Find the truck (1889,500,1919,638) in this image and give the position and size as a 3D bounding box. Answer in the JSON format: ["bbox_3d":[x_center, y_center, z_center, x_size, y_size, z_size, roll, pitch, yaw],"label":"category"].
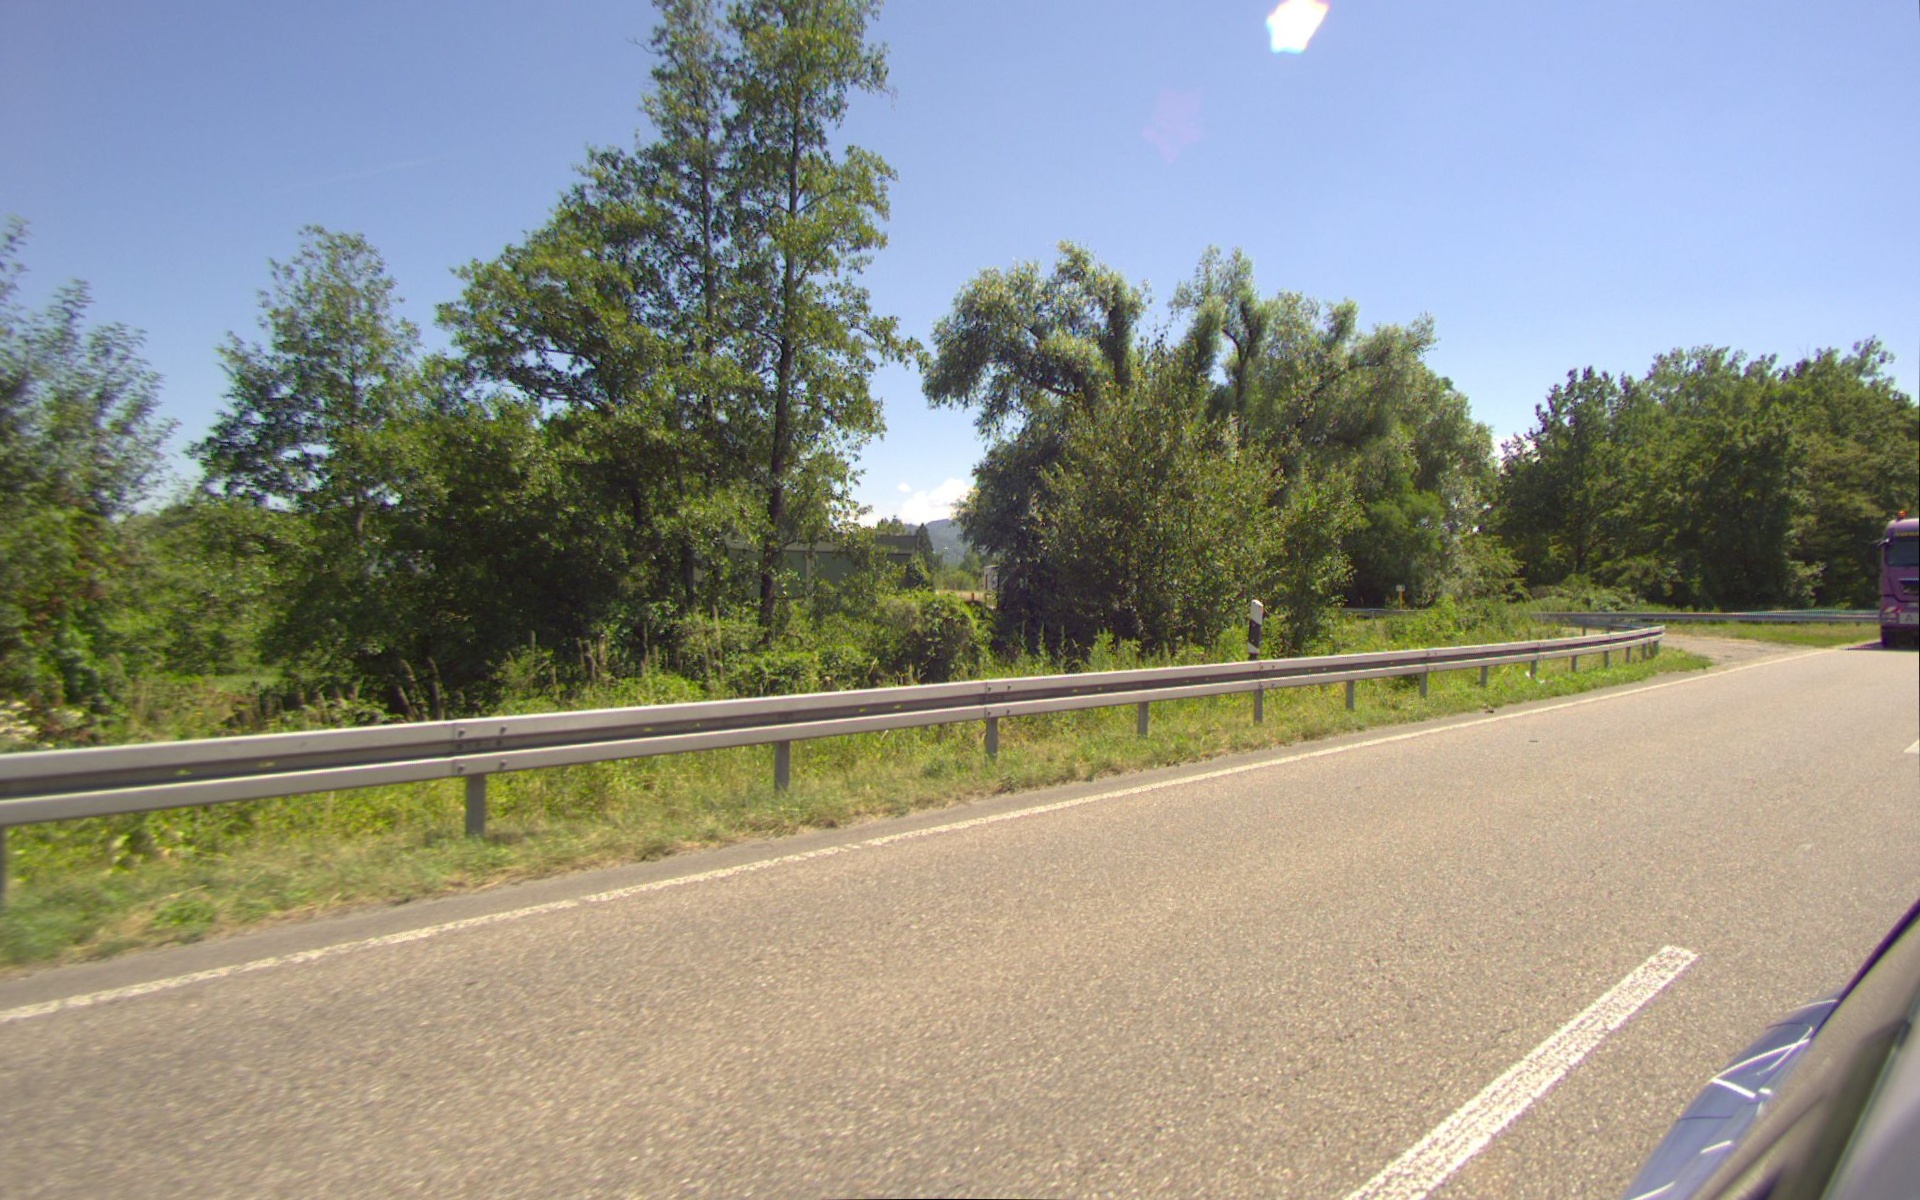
[{"bbox_3d":[28.560,-0.805,28.764,5.835,3.739,2.602,1,-1,-42],"label":"truck"}]

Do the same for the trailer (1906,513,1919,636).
[{"bbox_3d":[32.360,-0.715,32.155,8.464,3.675,2.602,1,-1,-42],"label":"trailer"}]
